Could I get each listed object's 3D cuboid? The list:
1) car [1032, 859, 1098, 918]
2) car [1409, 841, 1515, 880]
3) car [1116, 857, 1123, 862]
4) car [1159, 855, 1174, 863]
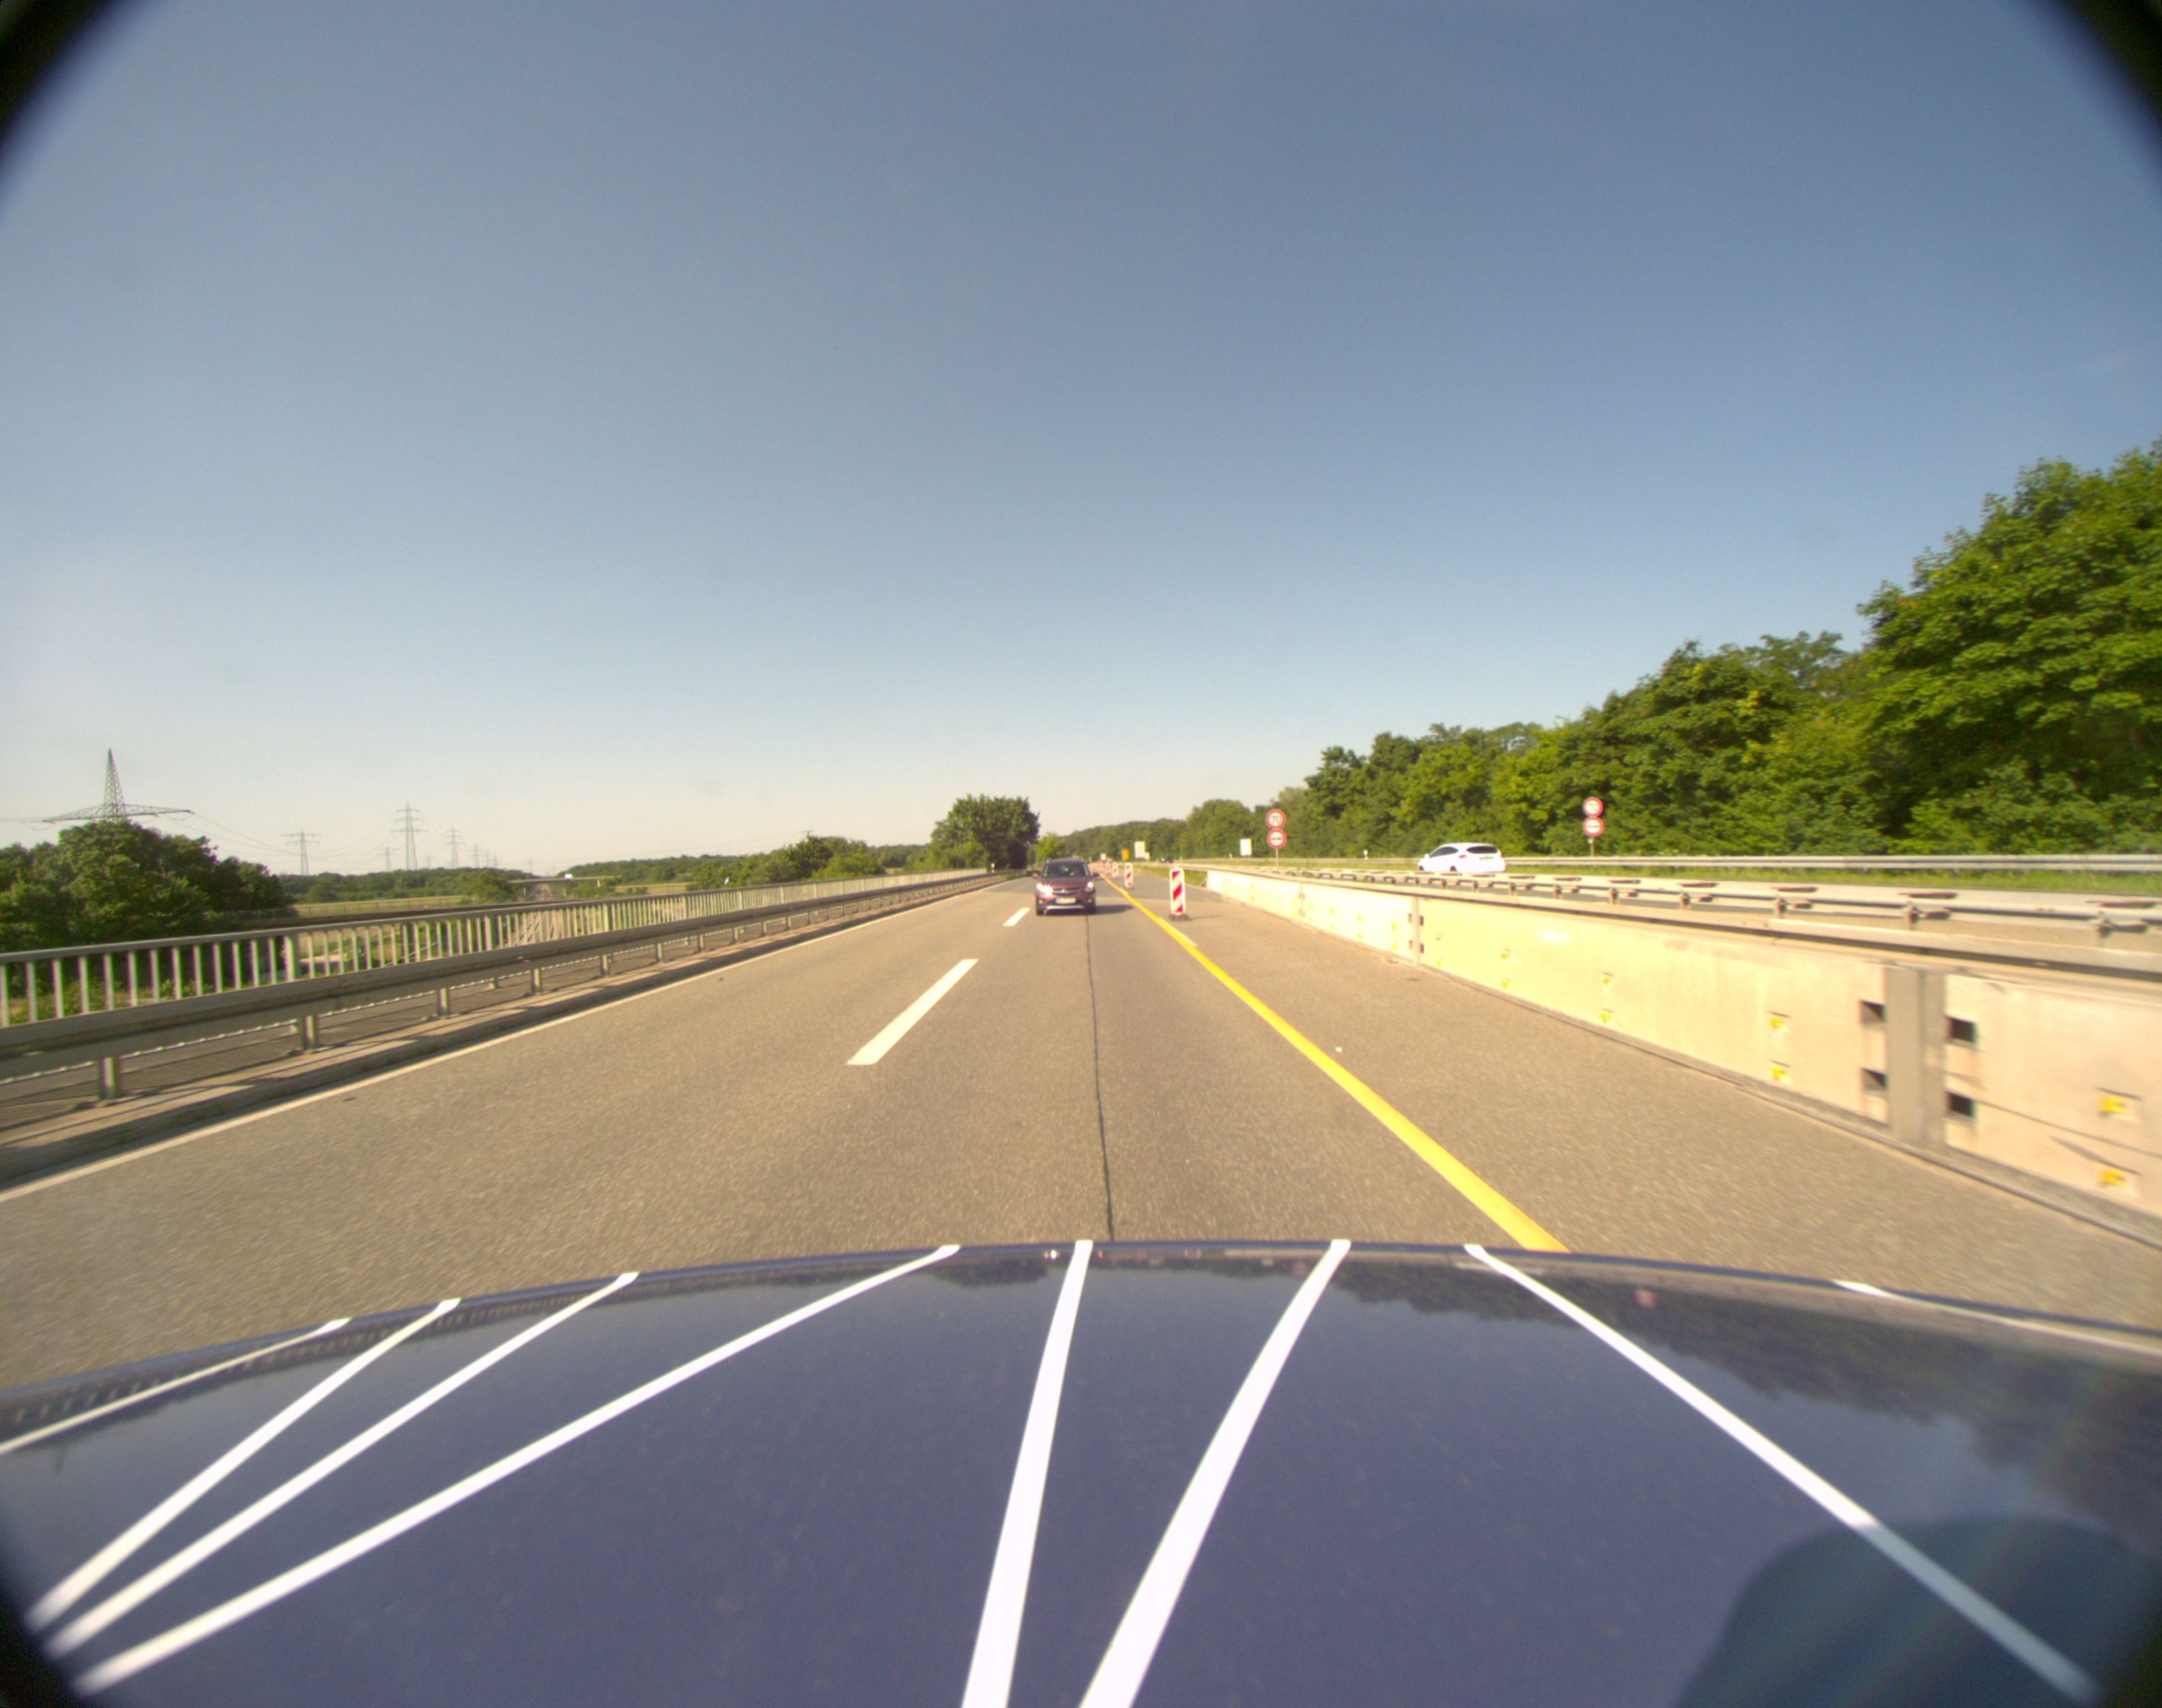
[{"bbox_3d":[-0.372,0.919,21.908,1.587,1.491,4.416,-2,-1,2],"label":"car"},{"bbox_3d":[14.561,0.220,29.349,1.744,1.331,4.551,-2,0,-1],"label":"car"},{"bbox_3d":[12.118,1.638,241.072,1.998,1.537,4.000,-2,0,0],"label":"car"},{"bbox_3d":[12.746,0.686,113.395,1.595,1.140,3.768,-1,0,-1],"label":"car"}]
